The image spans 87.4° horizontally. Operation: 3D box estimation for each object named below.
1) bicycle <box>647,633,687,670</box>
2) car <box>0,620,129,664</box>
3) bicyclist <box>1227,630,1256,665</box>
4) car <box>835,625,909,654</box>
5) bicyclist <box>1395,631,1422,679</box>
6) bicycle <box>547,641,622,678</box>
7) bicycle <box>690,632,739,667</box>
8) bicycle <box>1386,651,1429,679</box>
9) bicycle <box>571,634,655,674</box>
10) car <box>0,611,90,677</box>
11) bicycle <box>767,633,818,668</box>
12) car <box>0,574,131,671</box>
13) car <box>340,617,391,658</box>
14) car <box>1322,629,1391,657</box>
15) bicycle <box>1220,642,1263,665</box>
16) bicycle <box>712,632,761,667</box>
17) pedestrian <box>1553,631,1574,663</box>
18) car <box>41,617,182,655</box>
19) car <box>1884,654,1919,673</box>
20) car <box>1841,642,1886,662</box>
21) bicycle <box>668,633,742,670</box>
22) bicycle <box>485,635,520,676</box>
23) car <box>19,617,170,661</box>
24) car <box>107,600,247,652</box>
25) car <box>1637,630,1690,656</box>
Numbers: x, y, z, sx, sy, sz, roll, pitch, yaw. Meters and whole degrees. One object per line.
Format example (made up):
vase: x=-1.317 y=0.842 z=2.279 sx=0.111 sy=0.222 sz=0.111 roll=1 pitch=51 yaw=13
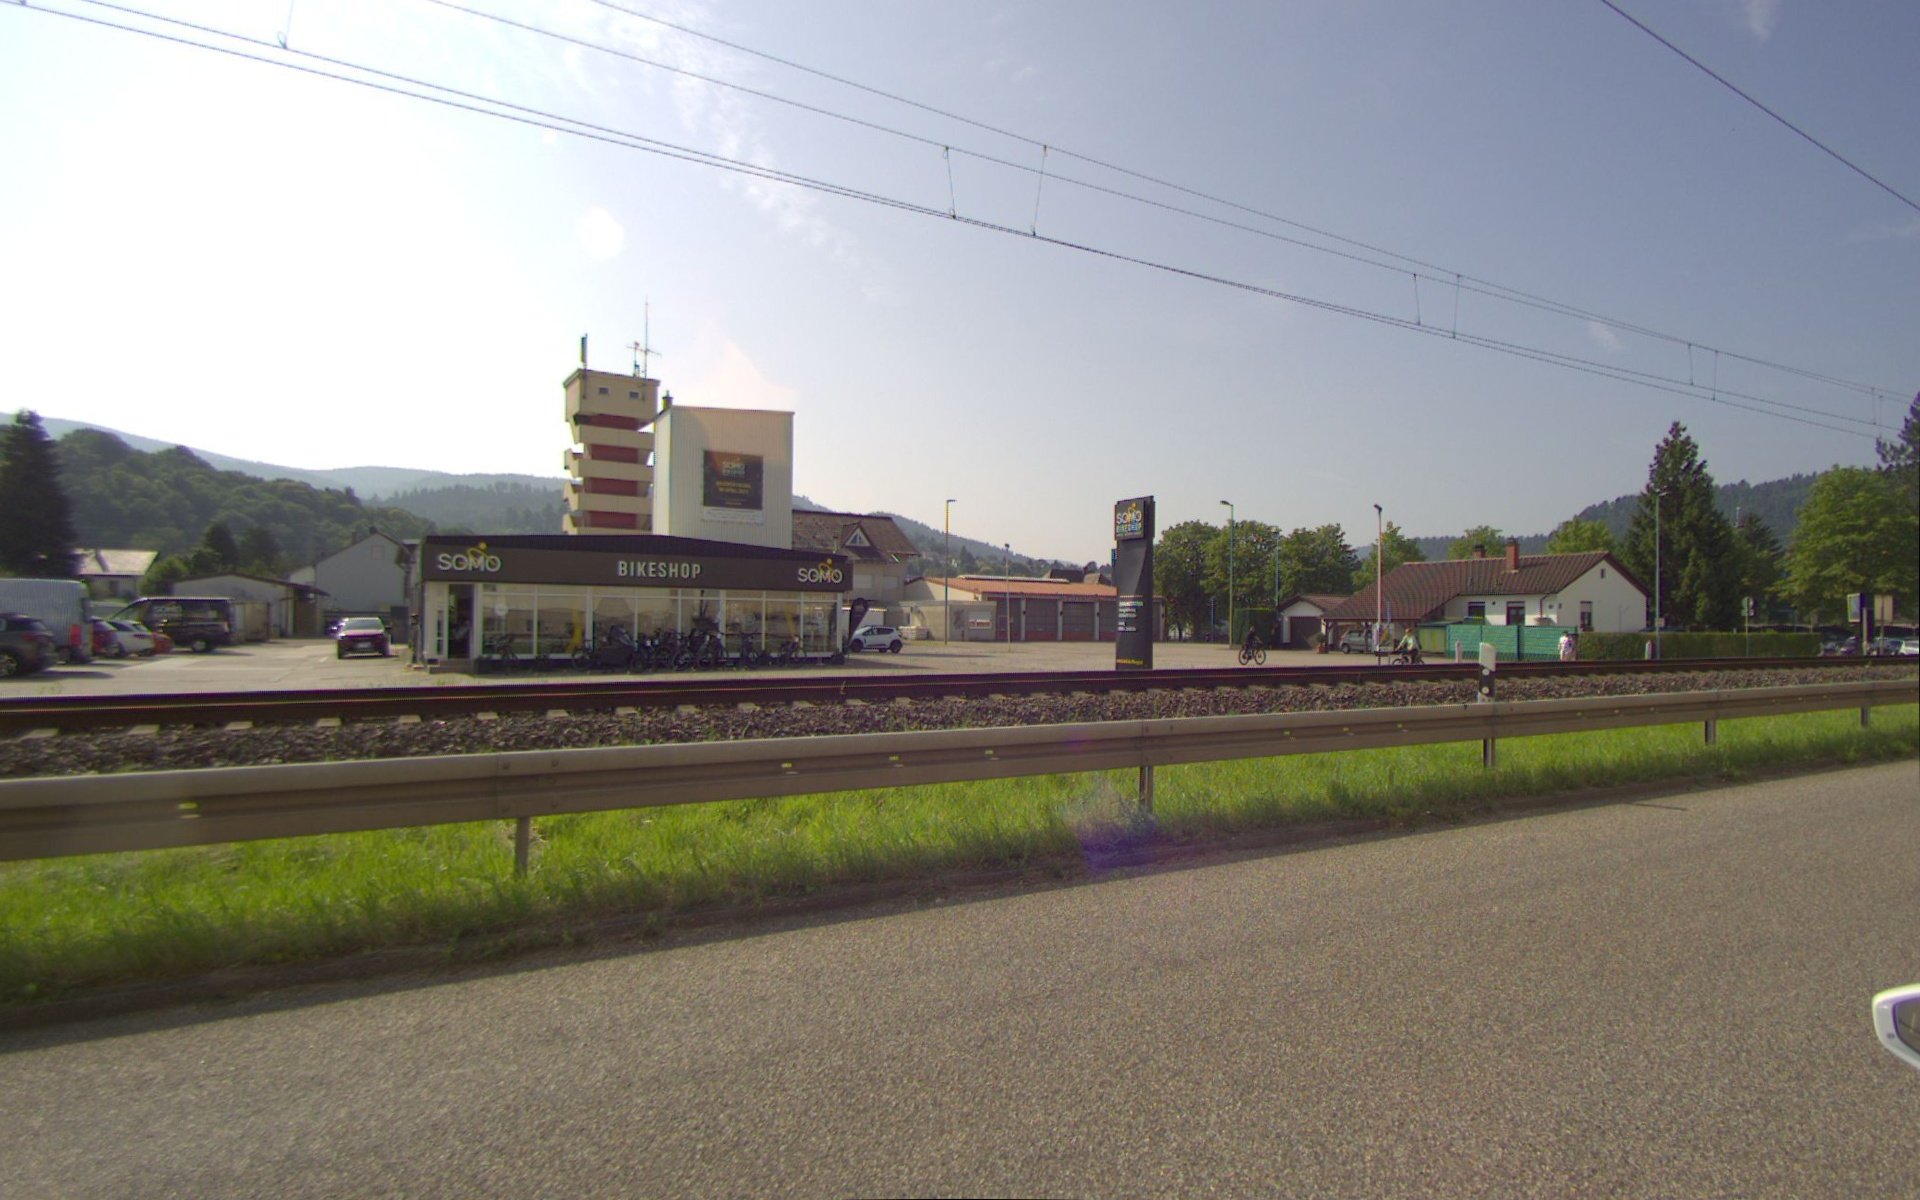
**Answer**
bicycle: x=-9.557 y=1.649 z=32.741 sx=0.722 sy=1.145 sz=2.156 roll=1 pitch=-2 yaw=-31
car: x=-29.916 y=1.381 z=33.241 sx=3.480 sy=1.375 sz=1.507 roll=1 pitch=-2 yaw=-31
bicyclist: x=13.274 y=2.213 z=47.322 sx=1.131 sy=1.641 sz=0.743 roll=1 pitch=-1 yaw=-27
car: x=-5.079 y=2.242 z=58.080 sx=3.932 sy=1.619 sz=1.704 roll=1 pitch=-1 yaw=-29
bicyclist: x=15.947 y=1.934 z=35.705 sx=0.823 sy=1.668 sz=0.529 roll=1 pitch=-1 yaw=-33
bicycle: x=-11.841 y=1.866 z=31.692 sx=2.148 sy=1.145 sz=0.724 roll=1 pitch=-2 yaw=-29
bicycle: x=-8.229 y=1.640 z=33.644 sx=0.724 sy=1.145 sz=2.149 roll=2 pitch=-2 yaw=-40
bicycle: x=15.897 y=2.302 z=35.664 sx=1.691 sy=0.935 sz=0.542 roll=1 pitch=-2 yaw=-33
bicycle: x=-10.453 y=1.623 z=30.269 sx=2.276 sy=1.145 sz=0.730 roll=0 pitch=-1 yaw=3
car: x=-25.501 y=1.126 z=26.194 sx=3.959 sy=1.685 sz=1.856 roll=3 pitch=-2 yaw=-34
bicycle: x=-5.710 y=1.707 z=34.180 sx=0.724 sy=1.145 sz=2.149 roll=2 pitch=-2 yaw=-40
car: x=-27.630 y=0.599 z=28.400 sx=6.097 sy=2.667 sz=2.359 roll=3 pitch=-3 yaw=-34
car: x=-24.624 y=1.517 z=41.686 sx=1.727 sy=1.622 sz=3.968 roll=1 pitch=-1 yaw=-30
car: x=24.476 y=2.643 z=62.082 sx=1.691 sy=1.673 sz=3.821 roll=1 pitch=-2 yaw=-28
bicycle: x=13.262 y=2.524 z=47.309 sx=1.937 sy=1.030 sz=0.752 roll=1 pitch=-2 yaw=-28
bicycle: x=-7.620 y=1.674 z=34.198 sx=0.724 sy=1.145 sz=2.149 roll=2 pitch=-2 yaw=-40
pedestrian: x=25.622 y=2.005 z=42.646 sx=0.667 sy=1.349 sz=0.569 roll=1 pitch=-1 yaw=-36
car: x=-33.679 y=1.444 z=40.026 sx=4.023 sy=1.461 sz=1.571 roll=1 pitch=-2 yaw=-31
car: x=77.271 y=5.172 z=81.757 sx=1.655 sy=1.462 sz=3.853 roll=0 pitch=-2 yaw=19
car: x=80.688 y=4.643 z=89.747 sx=1.655 sy=1.664 sz=3.853 roll=0 pitch=-2 yaw=19
bicycle: x=-8.074 y=1.625 z=31.799 sx=2.151 sy=1.145 sz=0.724 roll=1 pitch=-2 yaw=-33
bicycle: x=-13.669 y=1.628 z=29.990 sx=0.722 sy=1.145 sz=2.156 roll=1 pitch=-2 yaw=-31
car: x=-32.294 y=1.457 z=37.647 sx=4.023 sy=1.561 sz=1.571 roll=1 pitch=-2 yaw=-31
car: x=-35.467 y=1.190 z=45.689 sx=4.708 sy=2.241 sz=1.984 roll=1 pitch=-2 yaw=-31
car: x=39.254 y=2.389 z=56.026 sx=2.862 sy=1.370 sz=1.383 roll=1 pitch=-2 yaw=-32
